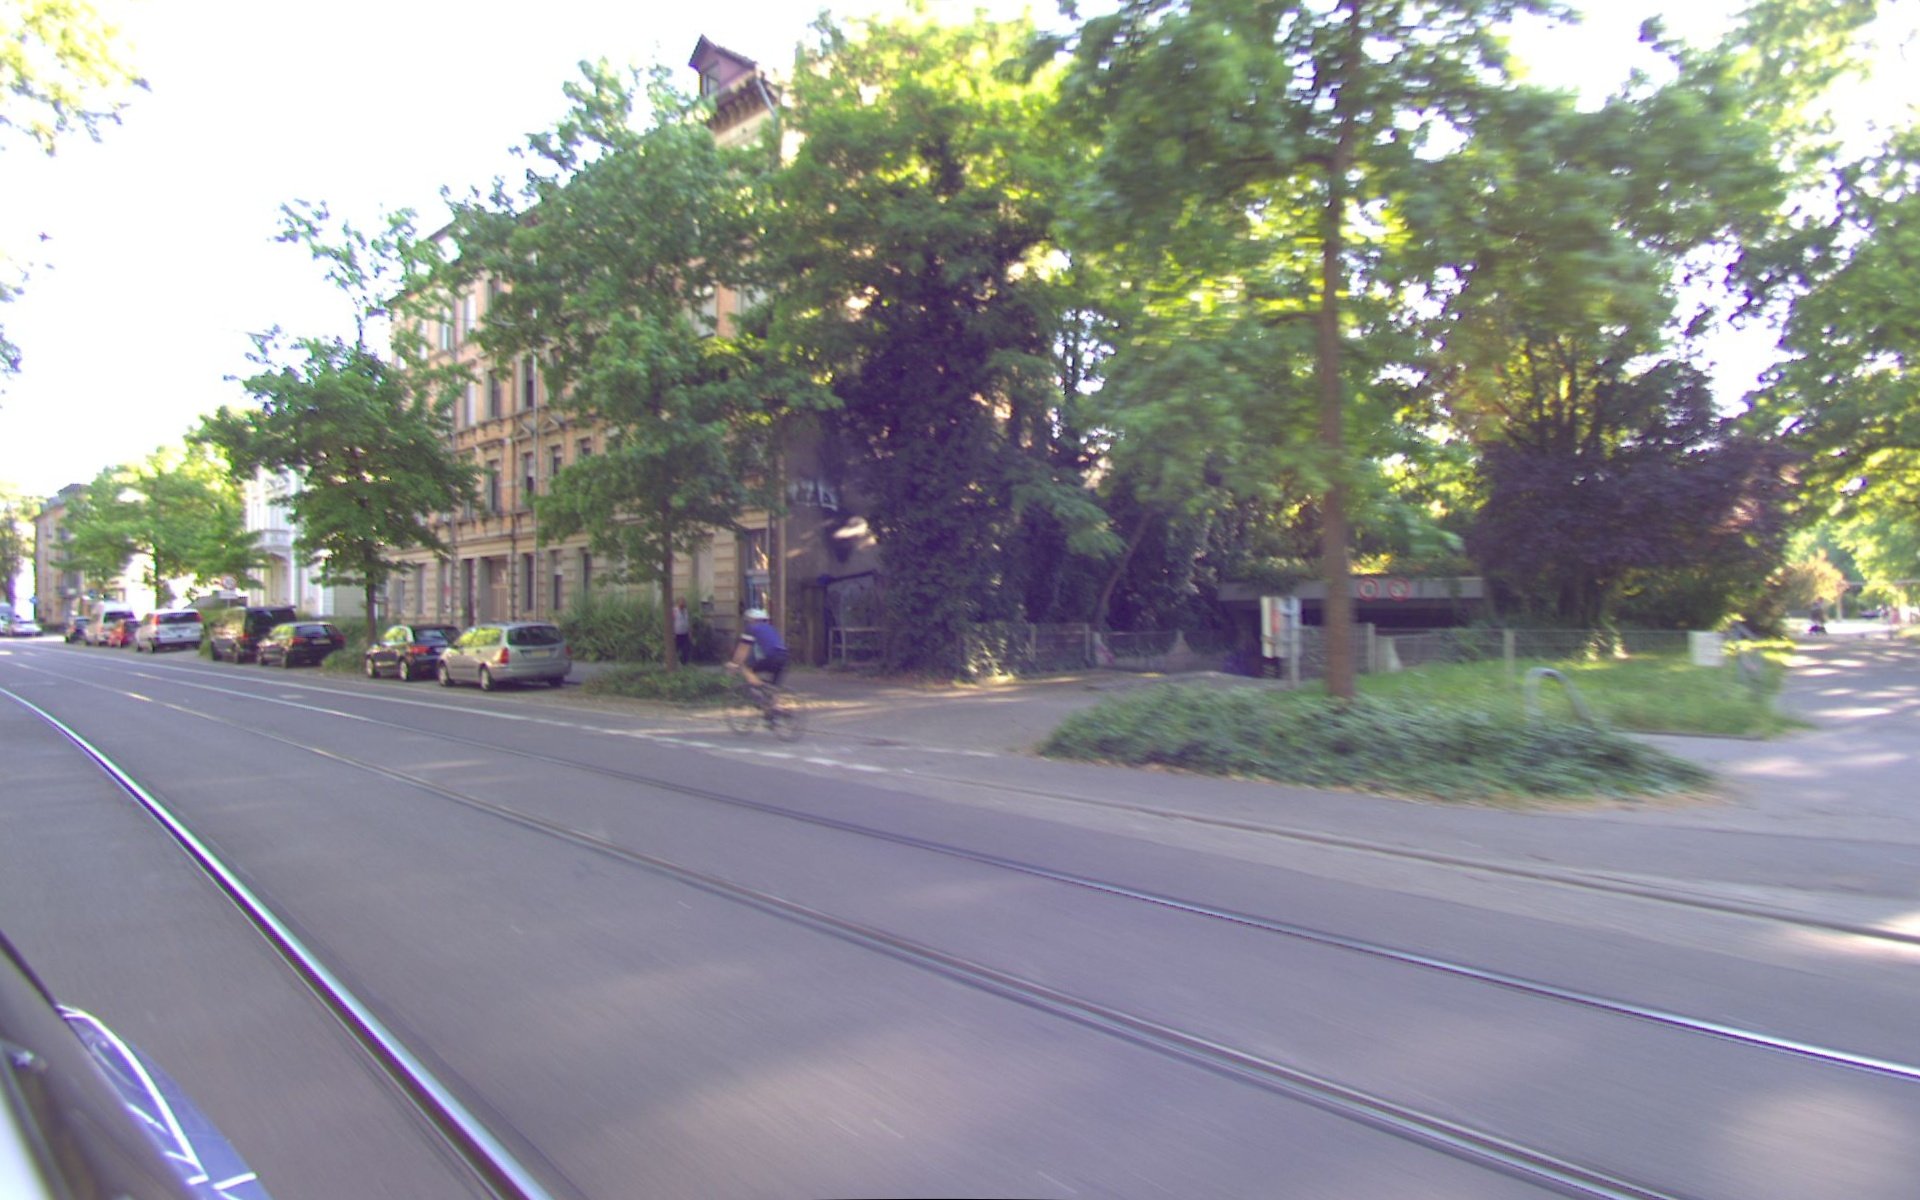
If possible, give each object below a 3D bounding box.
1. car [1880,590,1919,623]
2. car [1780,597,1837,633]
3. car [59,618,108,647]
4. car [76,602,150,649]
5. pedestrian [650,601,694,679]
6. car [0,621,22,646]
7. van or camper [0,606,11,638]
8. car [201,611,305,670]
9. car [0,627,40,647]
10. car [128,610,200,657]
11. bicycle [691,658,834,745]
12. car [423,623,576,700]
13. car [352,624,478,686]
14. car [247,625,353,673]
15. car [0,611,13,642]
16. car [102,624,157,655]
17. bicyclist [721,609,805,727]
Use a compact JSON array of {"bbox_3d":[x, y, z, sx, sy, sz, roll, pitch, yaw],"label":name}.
[{"bbox_3d":[44.731,0.346,47.803,1.799,1.522,3.945,-1,-2,41],"label":"car"},{"bbox_3d":[37.339,0.675,44.516,1.799,1.522,3.945,-1,-2,41],"label":"car"},{"bbox_3d":[-54.372,1.988,62.759,4.263,1.703,1.970,-2,-2,44],"label":"car"},{"bbox_3d":[-47.334,1.413,56.533,5.340,2.527,2.280,-2,-2,40],"label":"car"},{"bbox_3d":[-7.021,0.956,24.681,0.728,1.861,0.734,-2,-1,40],"label":"pedestrian"},{"bbox_3d":[-82.923,2.872,87.659,4.938,2.062,1.903,-1,-1,41],"label":"car"},{"bbox_3d":[-92.306,2.157,96.273,5.990,2.999,2.391,-2,2,43],"label":"van or camper"},{"bbox_3d":[-25.915,1.453,37.023,4.831,2.029,1.973,-1,-2,41],"label":"car"},{"bbox_3d":[-74.944,2.948,80.634,4.936,1.504,1.753,-1,-1,39],"label":"car"},{"bbox_3d":[-36.501,1.518,46.386,4.988,2.004,1.823,-2,-2,43],"label":"car"},{"bbox_3d":[-2.573,1.276,13.048,2.100,0.994,0.634,-2,-5,41],"label":"bicycle"},{"bbox_3d":[-10.543,1.325,22.994,1.680,1.562,4.538,0,-1,-45],"label":"car"},{"bbox_3d":[-14.221,1.390,26.322,3.947,1.456,1.641,-2,-1,41],"label":"car"},{"bbox_3d":[-21.900,1.581,33.537,4.267,1.469,1.834,-1,-2,41],"label":"car"},{"bbox_3d":[-87.390,2.448,91.633,4.545,2.767,1.903,-2,2,42],"label":"car"},{"bbox_3d":[-43.766,2.064,53.299,3.706,1.551,1.667,-2,-2,41],"label":"car"},{"bbox_3d":[-2.546,0.867,13.075,0.836,1.466,0.634,-2,-5,41],"label":"bicyclist"}]
